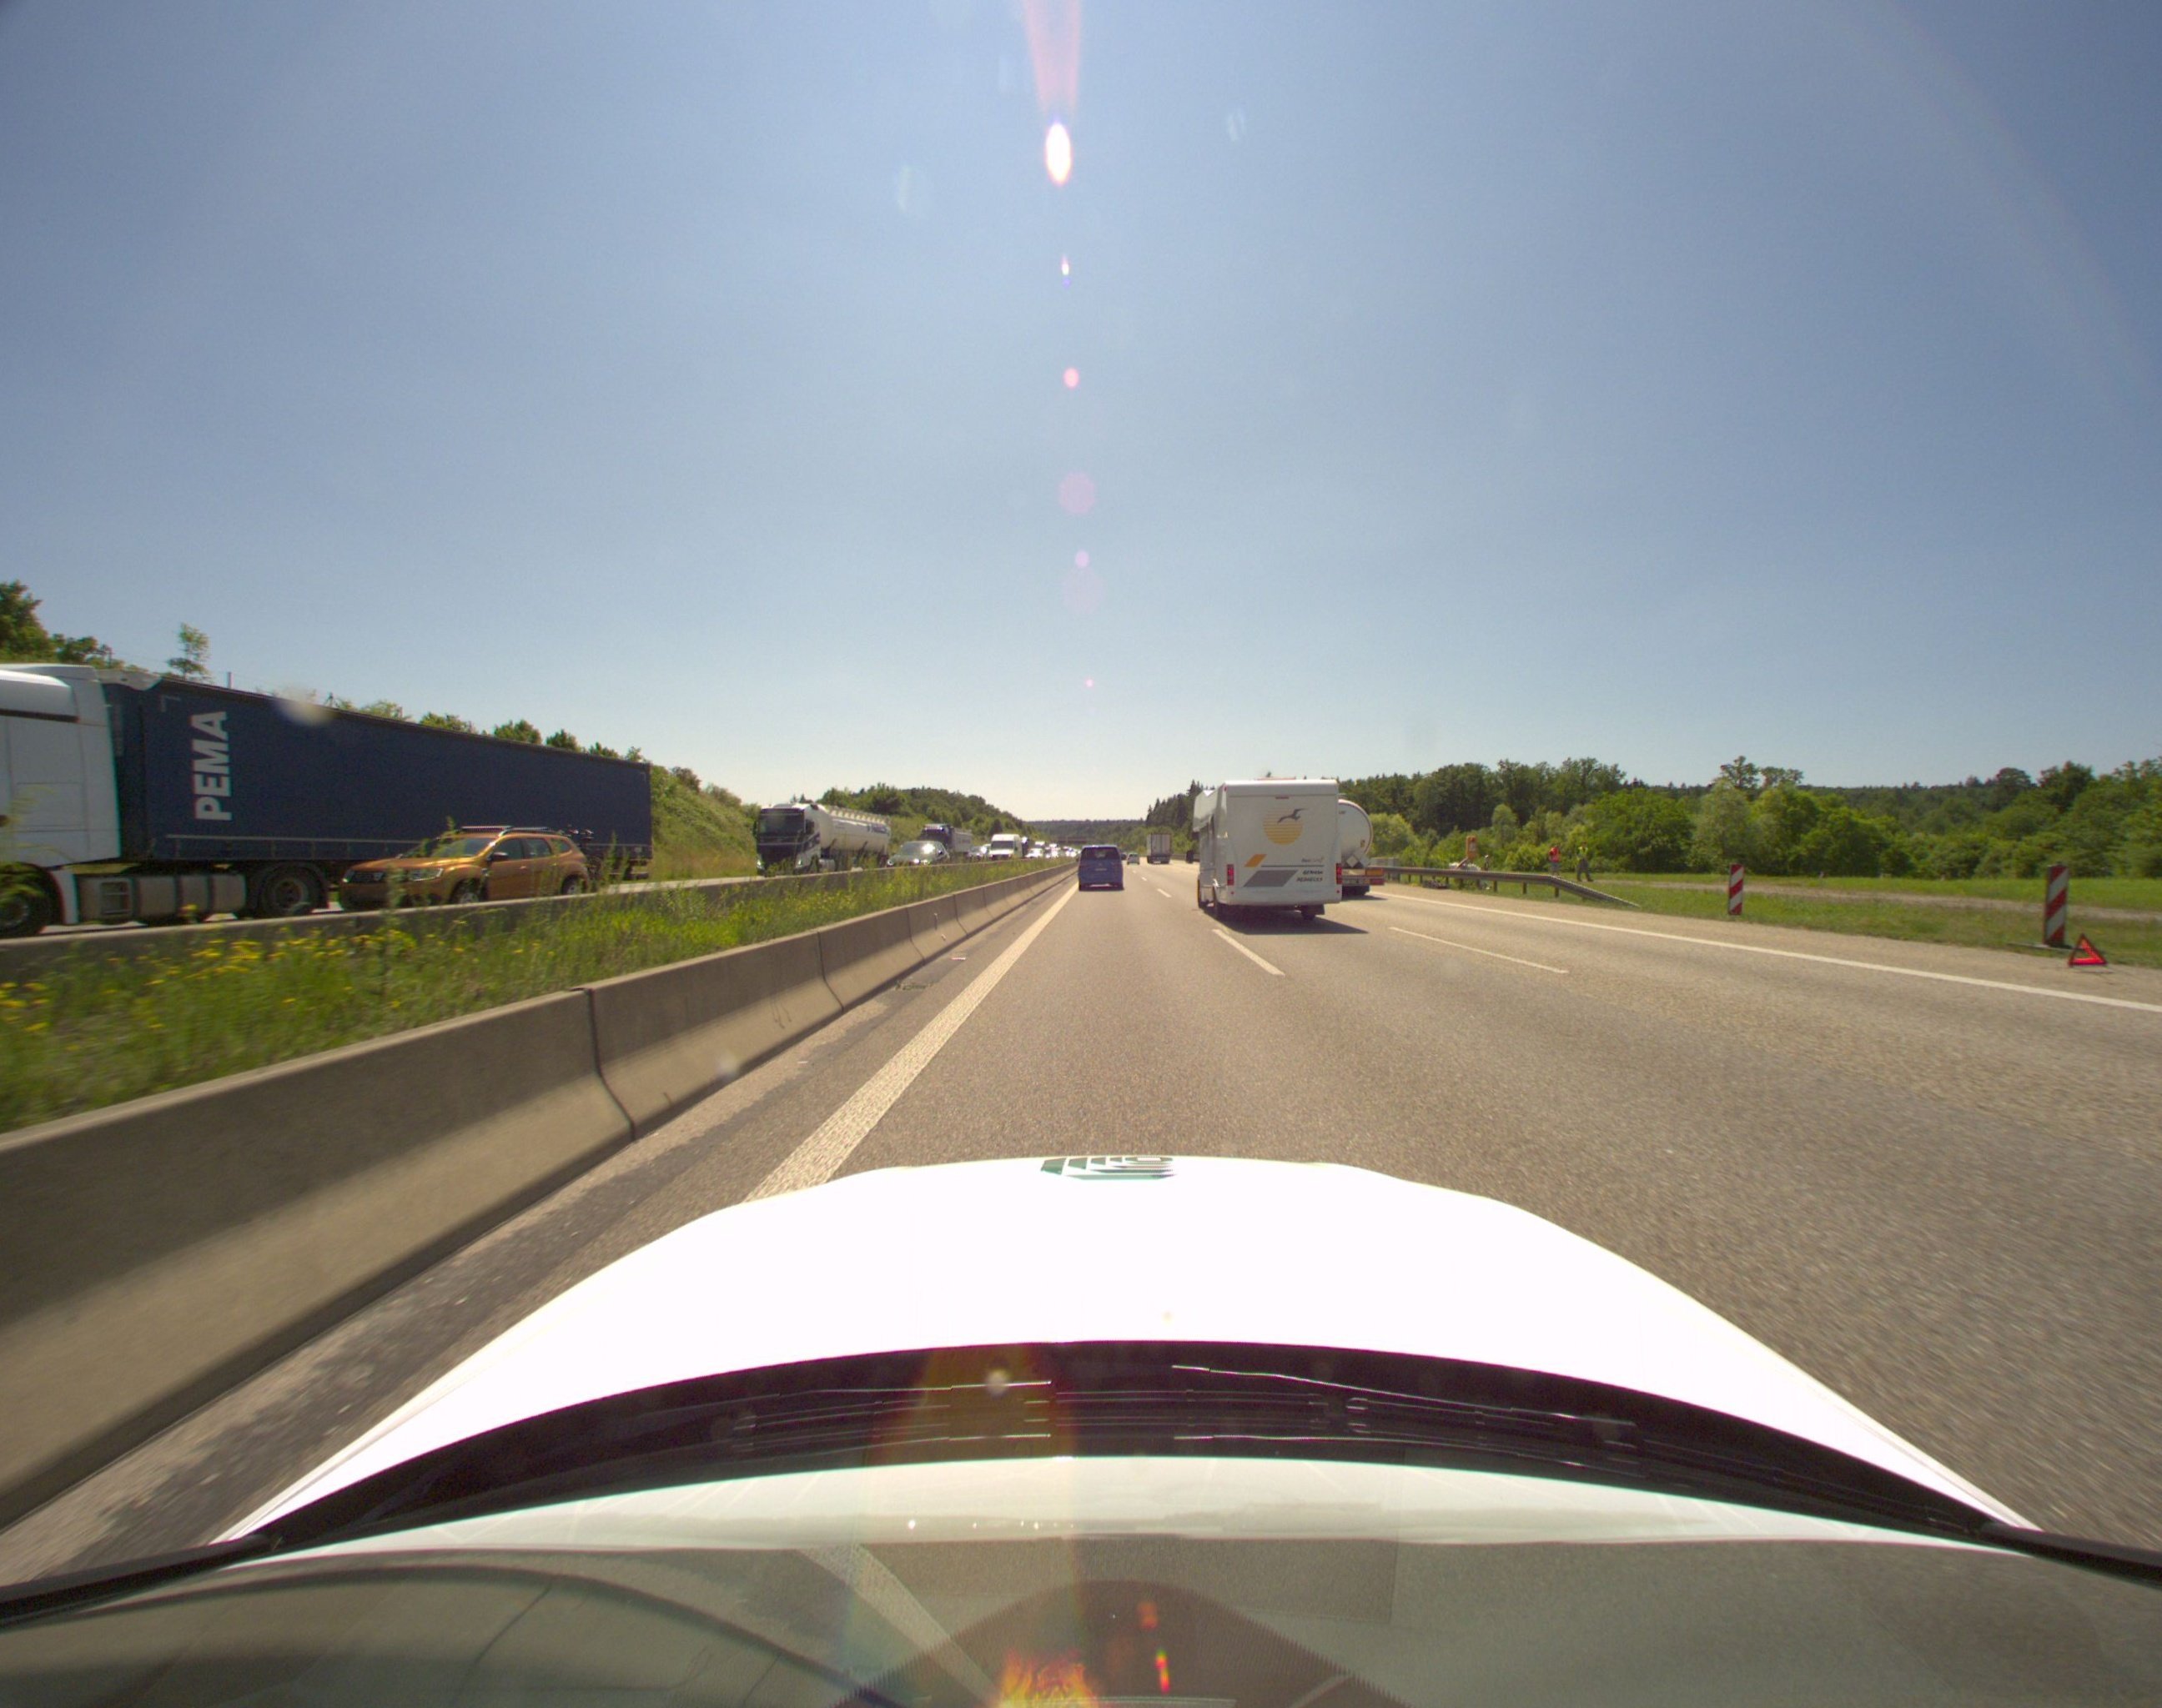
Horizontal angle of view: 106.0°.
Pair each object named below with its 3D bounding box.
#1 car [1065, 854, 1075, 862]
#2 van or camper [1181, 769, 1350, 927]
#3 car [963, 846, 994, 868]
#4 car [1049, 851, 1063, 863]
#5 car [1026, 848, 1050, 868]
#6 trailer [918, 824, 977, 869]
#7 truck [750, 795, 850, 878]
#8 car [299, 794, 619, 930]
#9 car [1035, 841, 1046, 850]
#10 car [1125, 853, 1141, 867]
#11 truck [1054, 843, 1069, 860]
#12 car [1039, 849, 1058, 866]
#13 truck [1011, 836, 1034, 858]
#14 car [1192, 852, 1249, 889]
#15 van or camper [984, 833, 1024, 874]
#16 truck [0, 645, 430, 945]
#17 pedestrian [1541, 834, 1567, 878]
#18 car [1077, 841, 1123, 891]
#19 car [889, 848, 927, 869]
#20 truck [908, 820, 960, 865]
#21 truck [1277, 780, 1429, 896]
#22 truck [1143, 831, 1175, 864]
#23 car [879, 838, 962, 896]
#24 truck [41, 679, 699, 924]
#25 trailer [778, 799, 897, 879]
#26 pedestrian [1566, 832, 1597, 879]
[{"bbox_3d":[-2.319,0.893,170.295,1.781,1.546,4.002,2,0,2],"label":"car"},{"bbox_3d":[4.061,-0.156,19.543,2.593,3.078,7.185,0,1,1],"label":"van or camper"},{"bbox_3d":[-9.133,0.250,72.827,1.789,1.834,5.748,-1,0,2],"label":"car"},{"bbox_3d":[-3.832,0.408,123.311,1.781,1.753,4.002,2,0,2],"label":"car"},{"bbox_3d":[-4.671,0.403,89.012,1.986,2.013,5.166,2,0,2],"label":"car"},{"bbox_3d":[-13.002,-0.741,80.345,3.565,4.093,11.543,0,0,2],"label":"trailer"},{"bbox_3d":[-14.062,-0.792,41.331,2.682,3.878,6.319,0,0,2],"label":"truck"},{"bbox_3d":[-11.221,0.128,15.363,2.079,2.063,5.057,2,0,-1],"label":"car"},{"bbox_3d":[-9.491,-2.009,190.205,2.078,2.063,5.061,2,0,2],"label":"car"},{"bbox_3d":[6.762,0.781,106.140,1.811,1.794,3.896,2,0,2],"label":"car"},{"bbox_3d":[-4.516,-0.600,189.718,2.981,3.803,12.164,2,0,1],"label":"truck"},{"bbox_3d":[-4.132,0.456,104.442,1.986,2.013,5.166,2,0,2],"label":"car"},{"bbox_3d":[-10.971,-1.219,154.001,2.981,3.803,12.164,2,0,1],"label":"truck"},{"bbox_3d":[5.937,0.670,35.094,1.902,1.475,4.002,0,0,2],"label":"car"},{"bbox_3d":[-5.867,-0.016,63.206,1.986,2.877,7.645,2,0,2],"label":"van or camper"},{"bbox_3d":[-15.724,-0.731,13.254,3.496,3.909,8.149,-1,0,2],"label":"truck"},{"bbox_3d":[23.134,0.108,39.801,0.685,2.080,0.928,2,0,2],"label":"pedestrian"},{"bbox_3d":[0.845,0.493,35.306,1.902,2.014,4.002,0,0,2],"label":"car"},{"bbox_3d":[-13.323,0.323,62.917,1.789,1.538,4.586,-1,0,2],"label":"car"},{"bbox_3d":[-13.186,-0.981,73.624,3.443,3.877,5.446,2,0,1],"label":"truck"},{"bbox_3d":[9.401,-0.563,29.383,2.916,3.574,8.531,1,1,2],"label":"truck"},{"bbox_3d":[10.379,-0.831,109.165,3.474,4.170,8.645,2,0,2],"label":"truck"},{"bbox_3d":[-6.311,0.490,32.670,2.078,2.063,5.061,2,0,2],"label":"car"},{"bbox_3d":[-15.457,-0.935,21.167,3.565,4.093,15.013,0,0,2],"label":"truck"},{"bbox_3d":[-13.939,-0.746,48.248,2.670,3.950,13.246,2,0,1],"label":"trailer"},{"bbox_3d":[22.577,0.078,36.731,0.928,2.080,0.685,3,-1,-20],"label":"pedestrian"}]
